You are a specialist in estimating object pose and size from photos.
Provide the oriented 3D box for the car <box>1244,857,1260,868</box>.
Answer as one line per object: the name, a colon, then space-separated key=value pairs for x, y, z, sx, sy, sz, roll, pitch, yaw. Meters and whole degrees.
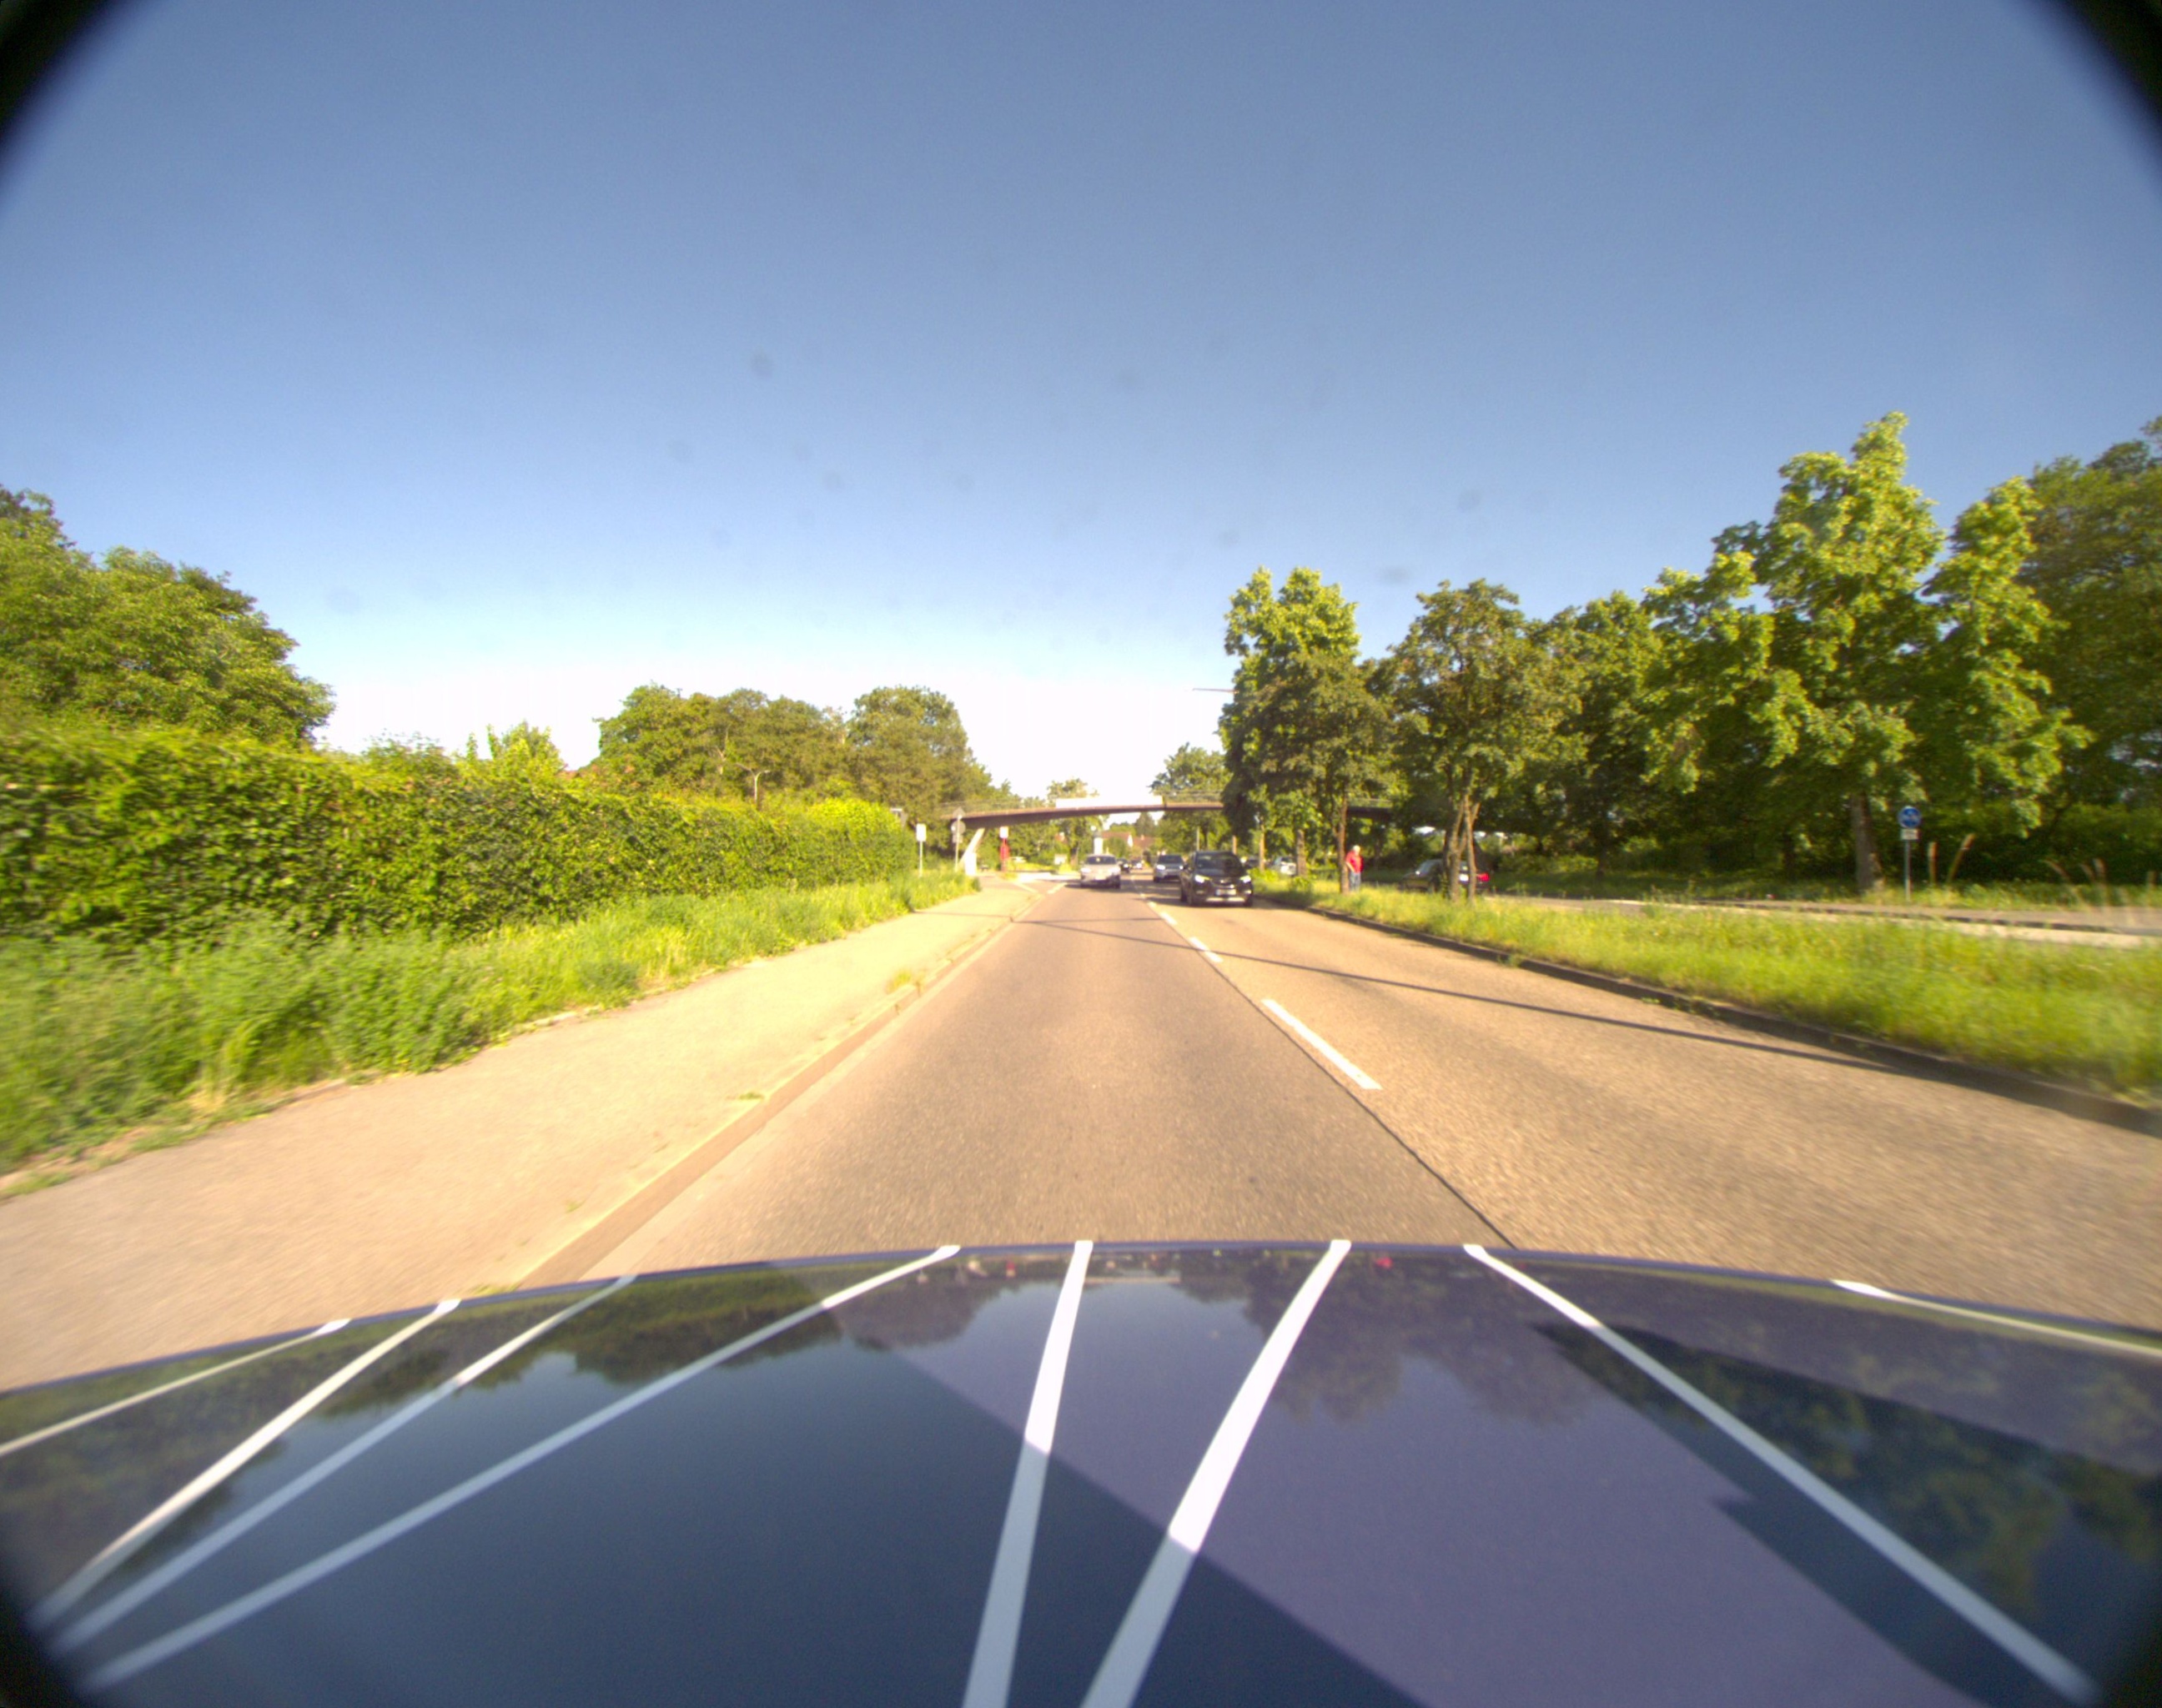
car: x=26.430 y=1.292 z=117.579 sx=1.735 sy=1.637 sz=4.902 roll=2 pitch=0 yaw=5

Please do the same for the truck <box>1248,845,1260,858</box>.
truck: x=35.606 y=-0.542 z=156.195 sx=2.175 sy=2.498 sz=5.749 roll=2 pitch=0 yaw=16

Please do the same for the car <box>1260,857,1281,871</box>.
car: x=21.018 y=1.106 z=84.433 sx=1.543 sy=1.422 sz=4.257 roll=1 pitch=0 yaw=4

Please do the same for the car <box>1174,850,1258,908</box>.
car: x=3.999 y=0.681 z=23.206 sx=1.811 sy=1.605 sz=4.514 roll=0 pitch=0 yaw=1

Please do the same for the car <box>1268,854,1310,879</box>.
car: x=14.199 y=0.808 z=52.024 sx=1.734 sy=1.622 sz=4.198 roll=1 pitch=0 yaw=1

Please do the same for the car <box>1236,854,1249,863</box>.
car: x=29.213 y=0.809 z=137.303 sx=1.753 sy=1.610 sz=4.581 roll=0 pitch=0 yaw=6

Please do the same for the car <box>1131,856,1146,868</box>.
car: x=7.739 y=1.034 z=102.128 sx=1.822 sy=1.587 sz=4.275 roll=-1 pitch=0 yaw=8

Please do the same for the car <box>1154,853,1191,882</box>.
car: x=5.123 y=0.730 z=43.002 sx=1.823 sy=1.553 sz=4.648 roll=-1 pitch=-1 yaw=4

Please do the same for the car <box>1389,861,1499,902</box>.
car: x=13.537 y=0.969 z=28.696 sx=1.786 sy=1.353 sz=4.979 roll=0 pitch=0 yaw=0

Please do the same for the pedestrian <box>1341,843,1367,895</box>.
pedestrian: x=9.074 y=0.496 z=25.245 sx=0.631 sy=1.686 sz=0.945 roll=0 pitch=0 yaw=32

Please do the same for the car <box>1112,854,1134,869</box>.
car: x=4.358 y=0.758 z=78.397 sx=1.822 sy=1.553 sz=4.275 roll=0 pitch=0 yaw=8

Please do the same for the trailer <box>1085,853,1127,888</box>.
trailer: x=1.155 y=0.751 z=36.388 sx=1.897 sy=1.585 sz=4.000 roll=0 pitch=0 yaw=1
